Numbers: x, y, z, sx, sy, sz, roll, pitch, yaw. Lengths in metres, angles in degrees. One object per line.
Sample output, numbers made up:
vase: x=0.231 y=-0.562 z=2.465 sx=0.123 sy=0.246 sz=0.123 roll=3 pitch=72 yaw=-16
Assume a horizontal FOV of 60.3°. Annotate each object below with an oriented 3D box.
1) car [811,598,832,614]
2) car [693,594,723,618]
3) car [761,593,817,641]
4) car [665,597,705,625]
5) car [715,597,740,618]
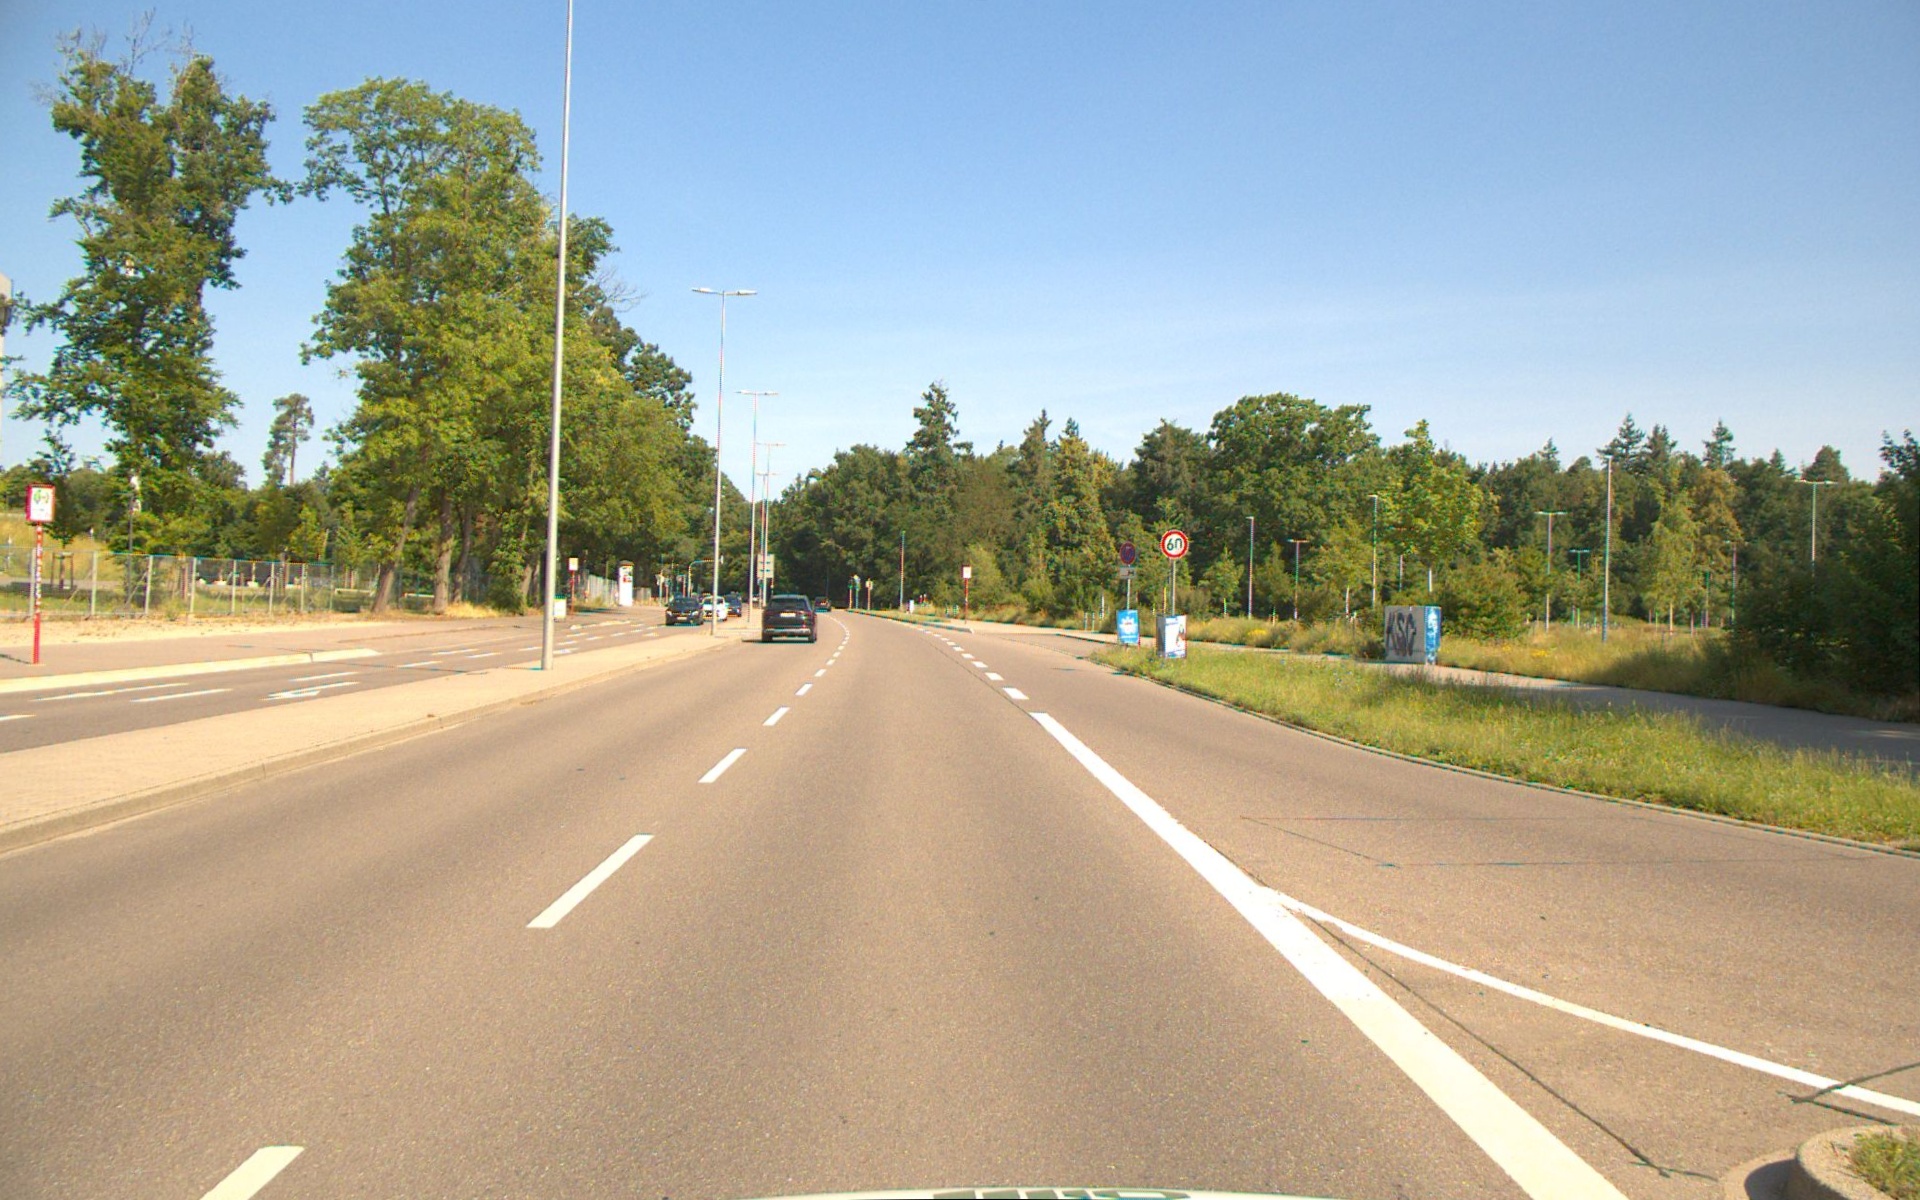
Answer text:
car: x=-13.947 y=0.603 z=166.466 sx=1.904 sy=1.445 sz=4.287 roll=2 pitch=0 yaw=-7
car: x=-15.635 y=0.362 z=102.822 sx=1.591 sy=1.492 sz=3.796 roll=-1 pitch=0 yaw=-5
car: x=-5.798 y=0.559 z=56.417 sx=1.654 sy=1.571 sz=4.146 roll=1 pitch=0 yaw=-2
car: x=-14.228 y=0.554 z=85.753 sx=1.776 sy=1.412 sz=4.156 roll=-1 pitch=0 yaw=-6
car: x=-17.104 y=0.554 z=121.763 sx=1.719 sy=1.512 sz=3.942 roll=-1 pitch=0 yaw=-6
